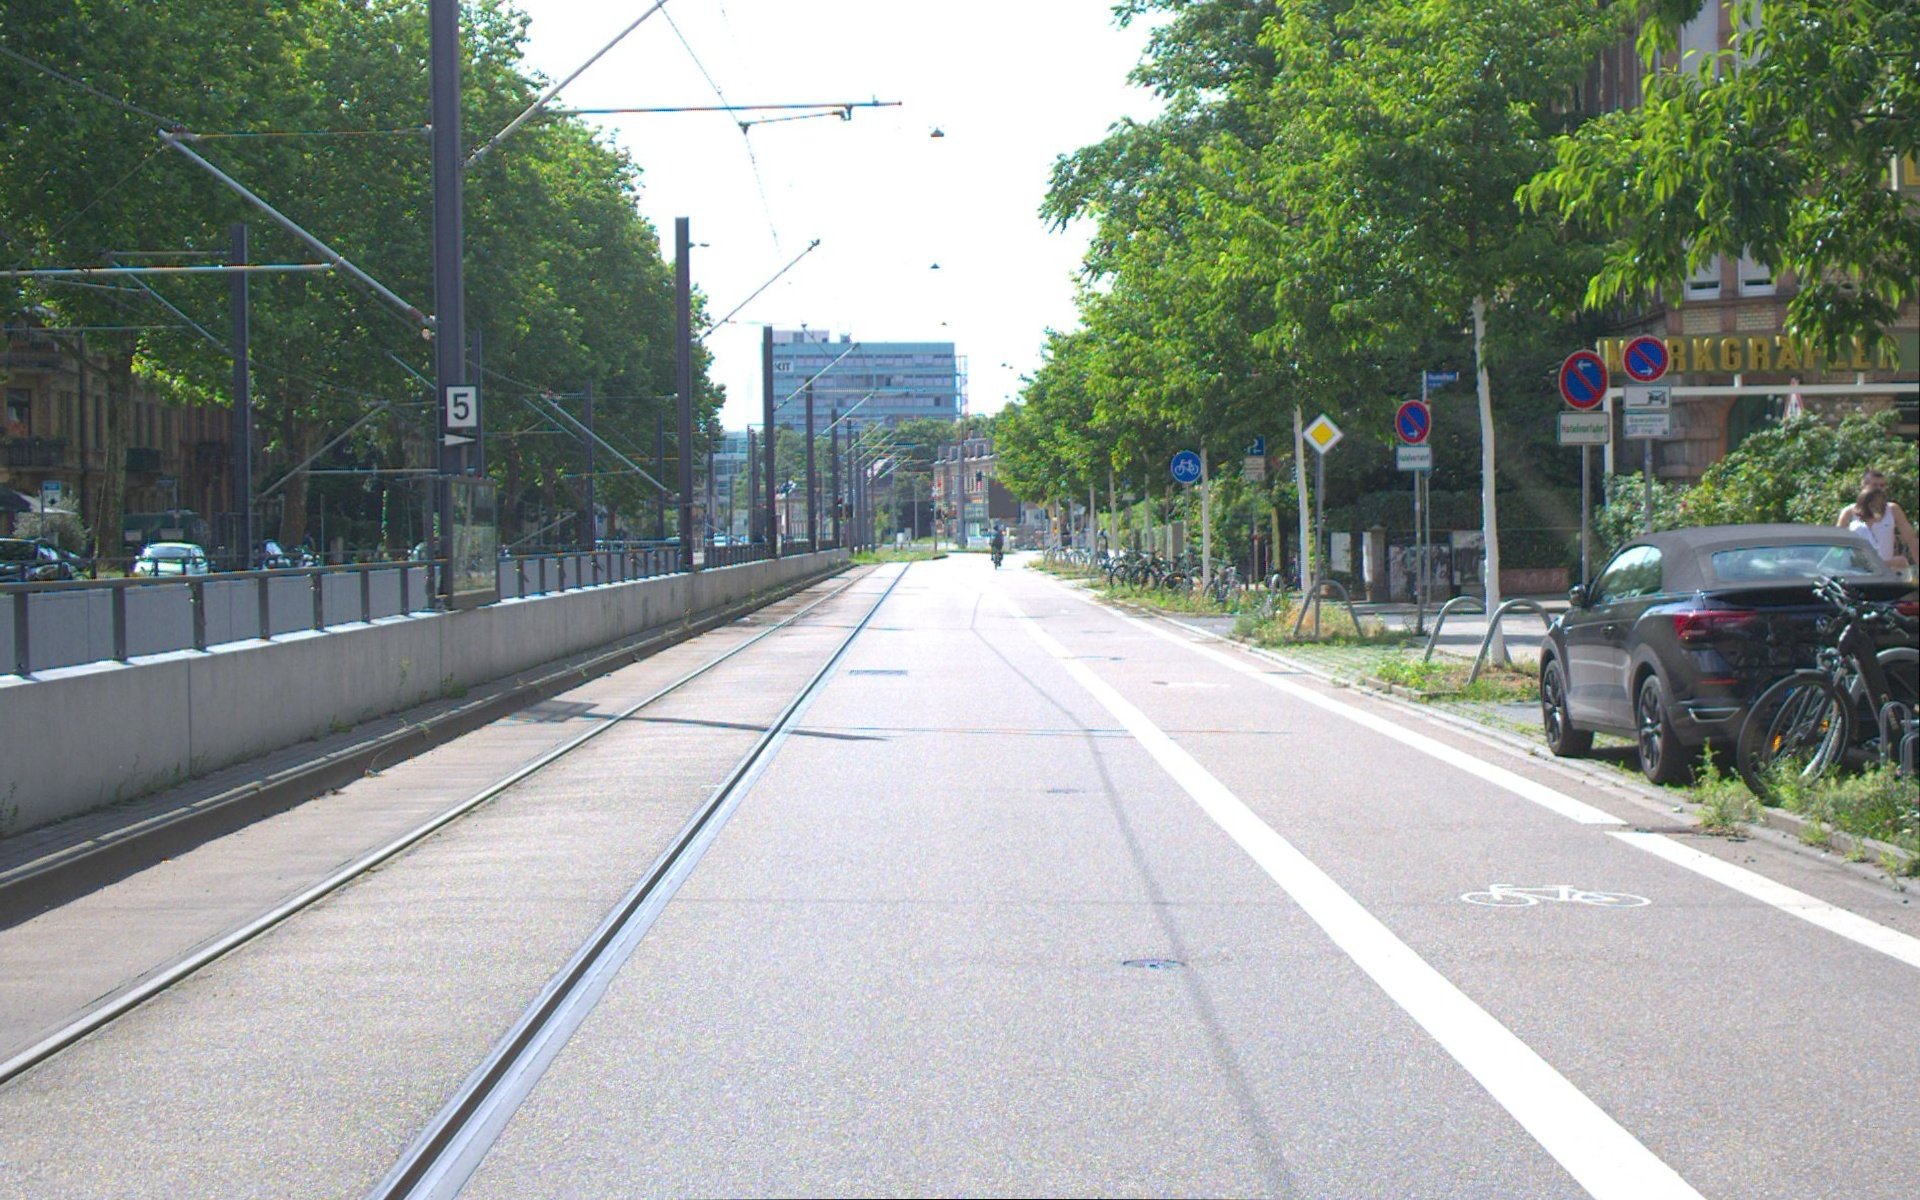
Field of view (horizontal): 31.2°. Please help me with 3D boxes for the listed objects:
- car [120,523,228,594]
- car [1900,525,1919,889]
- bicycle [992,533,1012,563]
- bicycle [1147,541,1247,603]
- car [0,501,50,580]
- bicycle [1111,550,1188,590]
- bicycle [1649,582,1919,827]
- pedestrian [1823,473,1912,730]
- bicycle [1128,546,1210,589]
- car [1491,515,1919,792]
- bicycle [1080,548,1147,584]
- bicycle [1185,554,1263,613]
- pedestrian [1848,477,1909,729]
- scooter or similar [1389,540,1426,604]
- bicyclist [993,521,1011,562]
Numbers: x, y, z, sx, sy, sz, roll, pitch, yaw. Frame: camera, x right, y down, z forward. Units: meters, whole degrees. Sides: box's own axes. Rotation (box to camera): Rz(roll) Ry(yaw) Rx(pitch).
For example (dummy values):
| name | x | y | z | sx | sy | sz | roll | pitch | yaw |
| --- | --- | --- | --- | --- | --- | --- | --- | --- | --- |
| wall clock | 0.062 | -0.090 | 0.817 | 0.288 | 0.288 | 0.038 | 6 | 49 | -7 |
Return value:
| name | x | y | z | sx | sy | sz | roll | pitch | yaw |
| --- | --- | --- | --- | --- | --- | --- | --- | --- | --- |
| car | -20.697 | -1.106 | 90.653 | 1.839 | 1.722 | 4.000 | -3 | 1 | 0 |
| car | 4.777 | 0.471 | 12.053 | 1.686 | 1.497 | 4.708 | -1 | 1 | 0 |
| bicycle | 1.797 | -2.237 | 147.181 | 0.799 | 1.232 | 2.778 | 0 | 1 | 0 |
| bicycle | 4.704 | -0.558 | 68.193 | 1.815 | 1.141 | 0.652 | -3 | 1 | -11 |
| car | -20.798 | -1.219 | 72.457 | 1.993 | 1.631 | 4.000 | -3 | 1 | 2 |
| bicycle | 4.715 | -0.750 | 85.771 | 1.816 | 0.899 | 0.604 | -3 | 1 | -3 |
| bicycle | 5.258 | 0.528 | 18.555 | 2.945 | 1.242 | 0.793 | -1 | 1 | -13 |
| pedestrian | 6.475 | 0.006 | 24.543 | 0.459 | 1.798 | 0.319 | -3 | 1 | -2 |
| bicycle | 4.920 | -0.769 | 80.833 | 1.816 | 0.899 | 0.652 | -3 | 1 | -3 |
| car | 4.826 | 0.258 | 22.070 | 1.798 | 1.521 | 4.490 | -3 | 1 | -4 |
| bicycle | 4.333 | -0.958 | 97.035 | 1.816 | 0.899 | 0.604 | -3 | 1 | -3 |
| bicycle | 4.836 | -0.300 | 63.021 | 0.649 | 1.035 | 1.822 | -3 | 2 | -21 |
| pedestrian | 6.314 | 0.013 | 23.643 | 0.318 | 1.701 | 0.460 | -3 | 1 | 14 |
| scooter or similar | 8.376 | -0.529 | 64.316 | 0.461 | 1.154 | 1.573 | -2 | 1 | 0 |
| bicyclist | 1.795 | -2.515 | 147.162 | 0.770 | 1.724 | 1.026 | 0 | 1 | 0 |
